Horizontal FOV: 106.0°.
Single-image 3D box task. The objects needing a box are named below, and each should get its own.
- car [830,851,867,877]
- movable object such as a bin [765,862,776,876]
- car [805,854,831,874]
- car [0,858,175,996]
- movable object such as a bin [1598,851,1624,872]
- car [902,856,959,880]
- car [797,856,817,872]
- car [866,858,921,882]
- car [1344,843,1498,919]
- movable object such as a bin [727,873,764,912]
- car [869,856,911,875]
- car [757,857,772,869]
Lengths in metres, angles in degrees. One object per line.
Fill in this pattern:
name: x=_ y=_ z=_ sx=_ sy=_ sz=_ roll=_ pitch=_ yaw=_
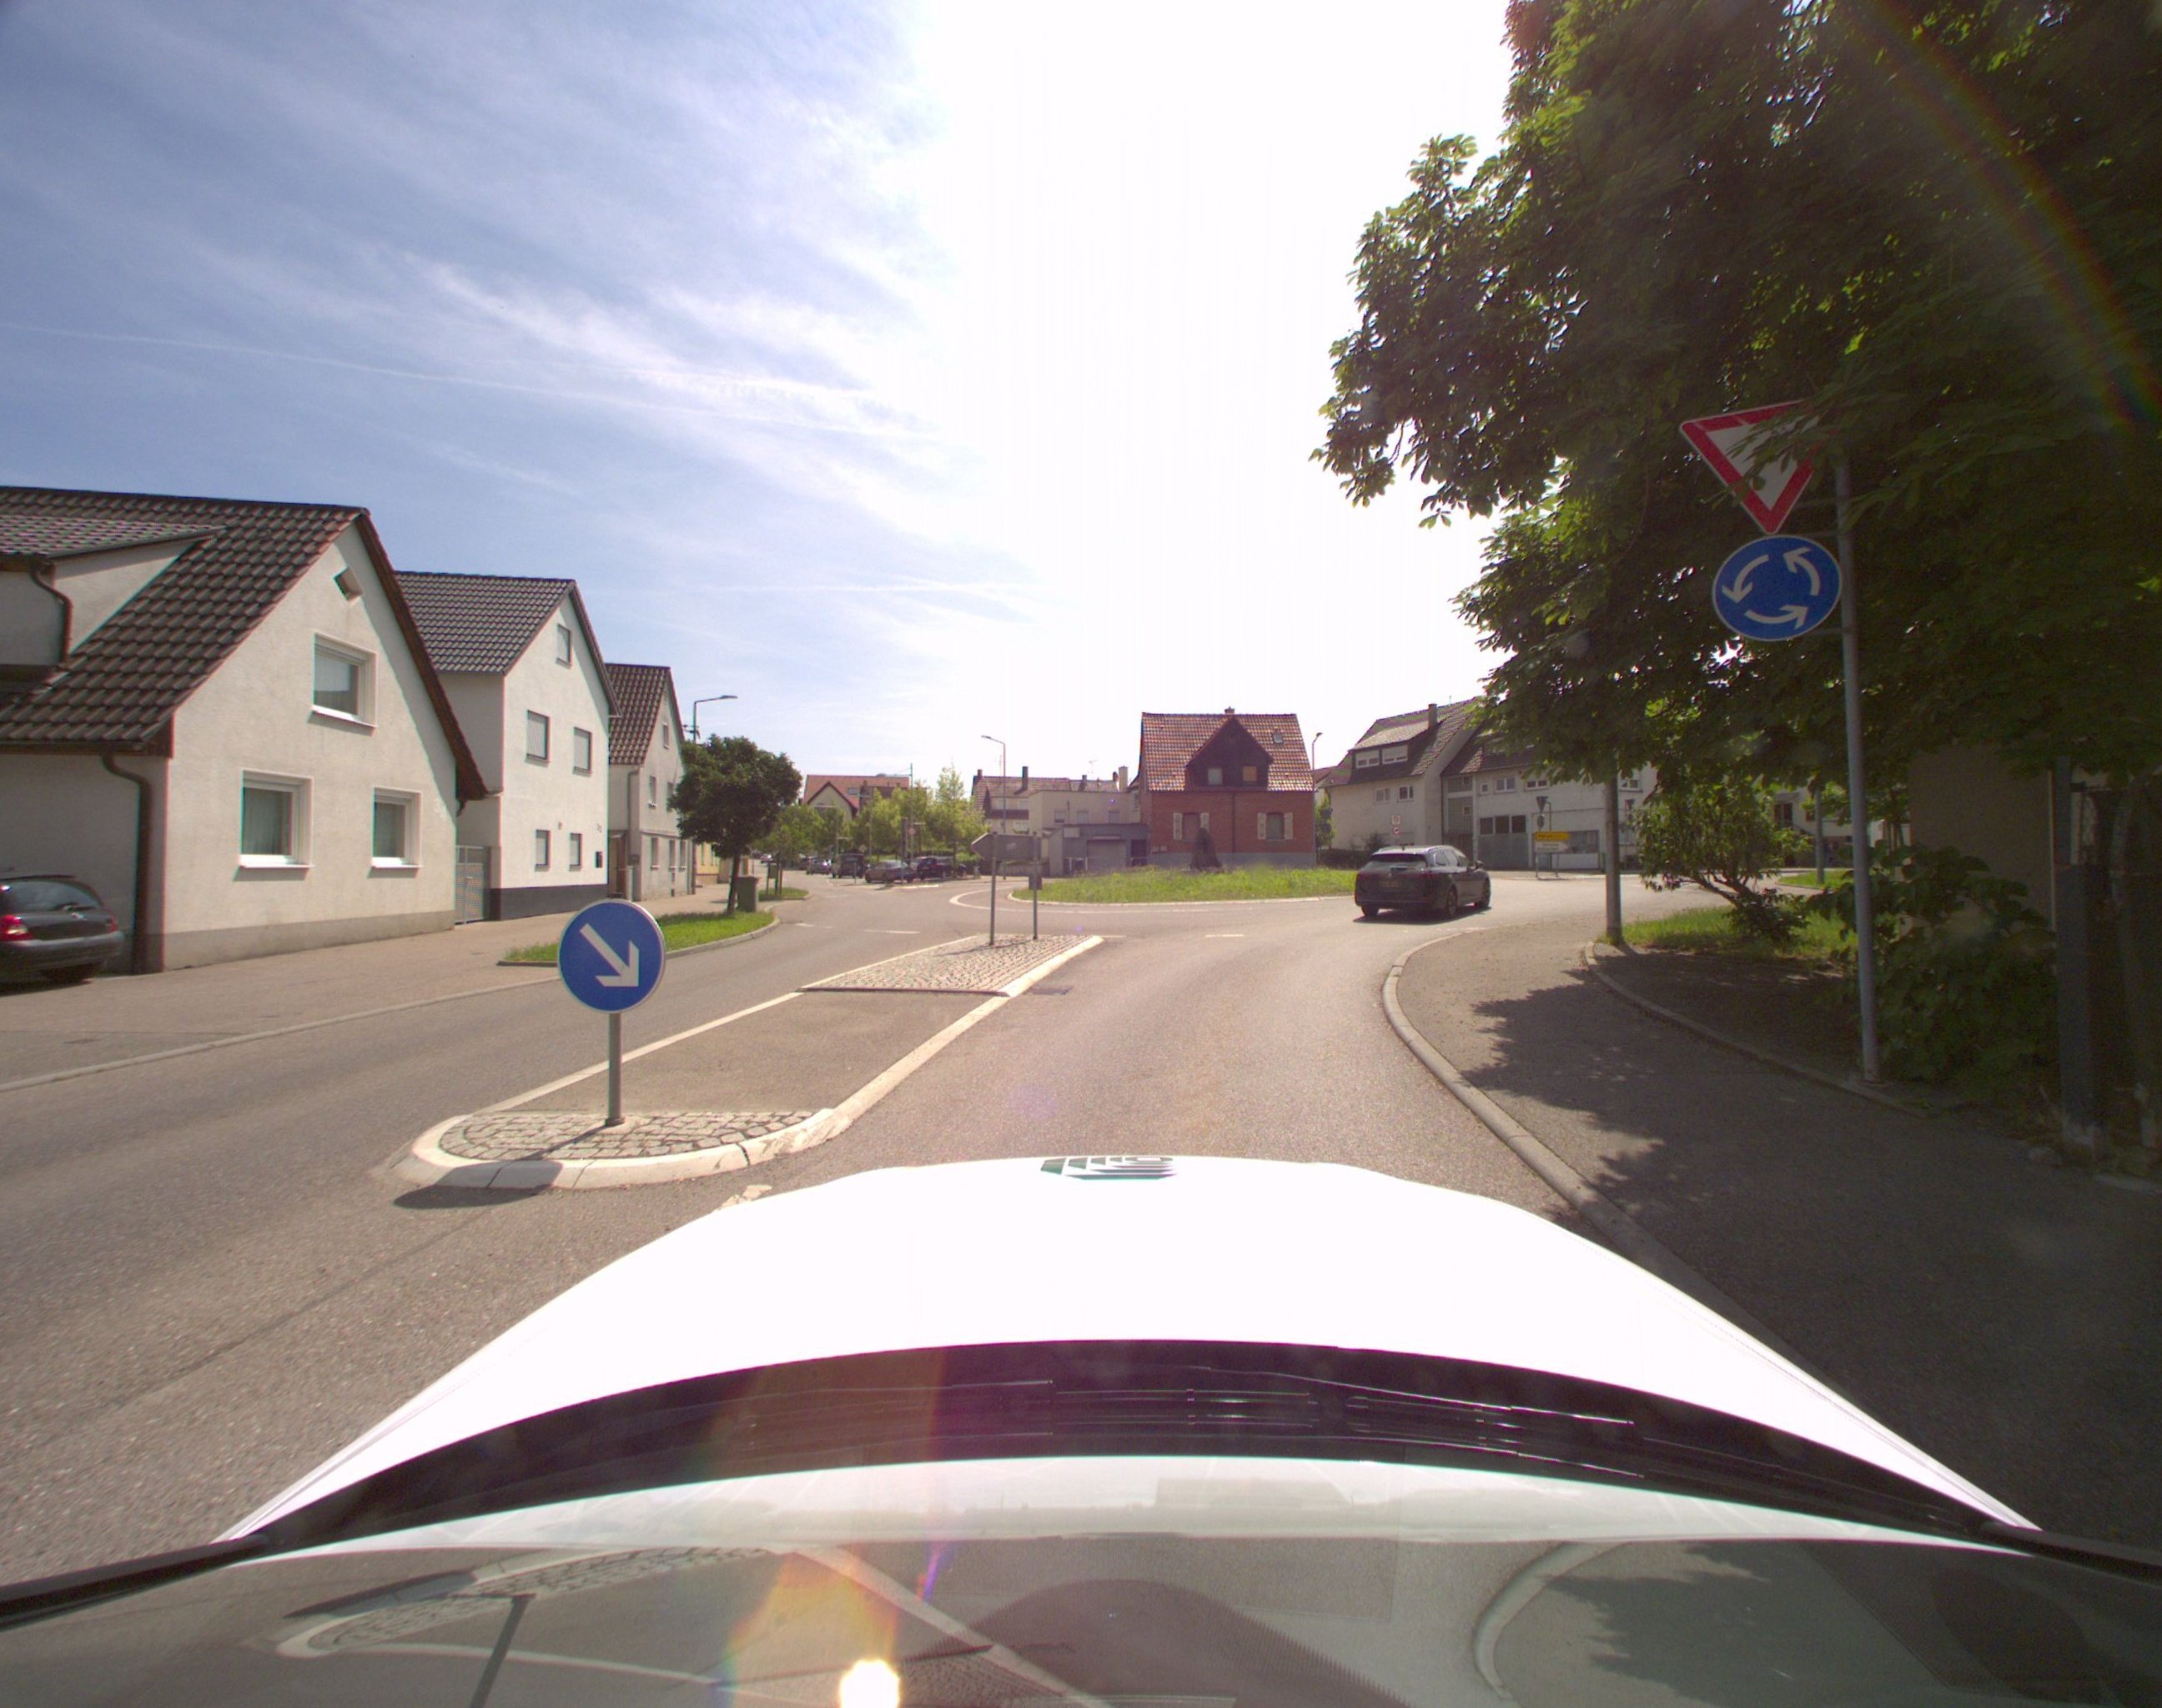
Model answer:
car: x=-18.573 y=0.766 z=64.929 sx=2.123 sy=2.014 sz=3.963 roll=0 pitch=-1 yaw=-28
movable object such as a bin: x=-22.624 y=1.095 z=59.360 sx=0.701 sy=1.052 sz=0.669 roll=-1 pitch=0 yaw=-29
car: x=-27.140 y=0.990 z=83.990 sx=2.121 sy=2.014 sz=3.968 roll=0 pitch=-1 yaw=-24
car: x=-13.410 y=0.759 z=9.156 sx=3.845 sy=1.441 sz=1.767 roll=2 pitch=-1 yaw=-19
movable object such as a bin: x=27.068 y=0.388 z=41.611 sx=0.819 sy=1.045 sz=0.813 roll=-1 pitch=0 yaw=10
car: x=-10.768 y=0.994 z=58.508 sx=1.794 sy=1.618 sz=4.025 roll=-1 pitch=-1 yaw=30
car: x=-35.025 y=1.285 z=104.166 sx=2.121 sy=2.014 sz=3.968 roll=0 pitch=-1 yaw=-24
car: x=-11.626 y=0.959 z=50.363 sx=1.886 sy=1.391 sz=4.169 roll=0 pitch=-1 yaw=-36
car: x=7.491 y=0.488 z=17.666 sx=1.823 sy=1.420 sz=4.712 roll=-1 pitch=0 yaw=39
movable object such as a bin: x=-9.360 y=1.066 z=22.727 sx=0.903 sy=1.048 sz=0.575 roll=-1 pitch=0 yaw=-19
car: x=-17.015 y=1.028 z=72.817 sx=1.851 sy=1.669 sz=4.018 roll=-1 pitch=-1 yaw=18
car: x=-51.318 y=1.461 z=132.113 sx=2.121 sy=2.014 sz=3.968 roll=0 pitch=-1 yaw=-24
